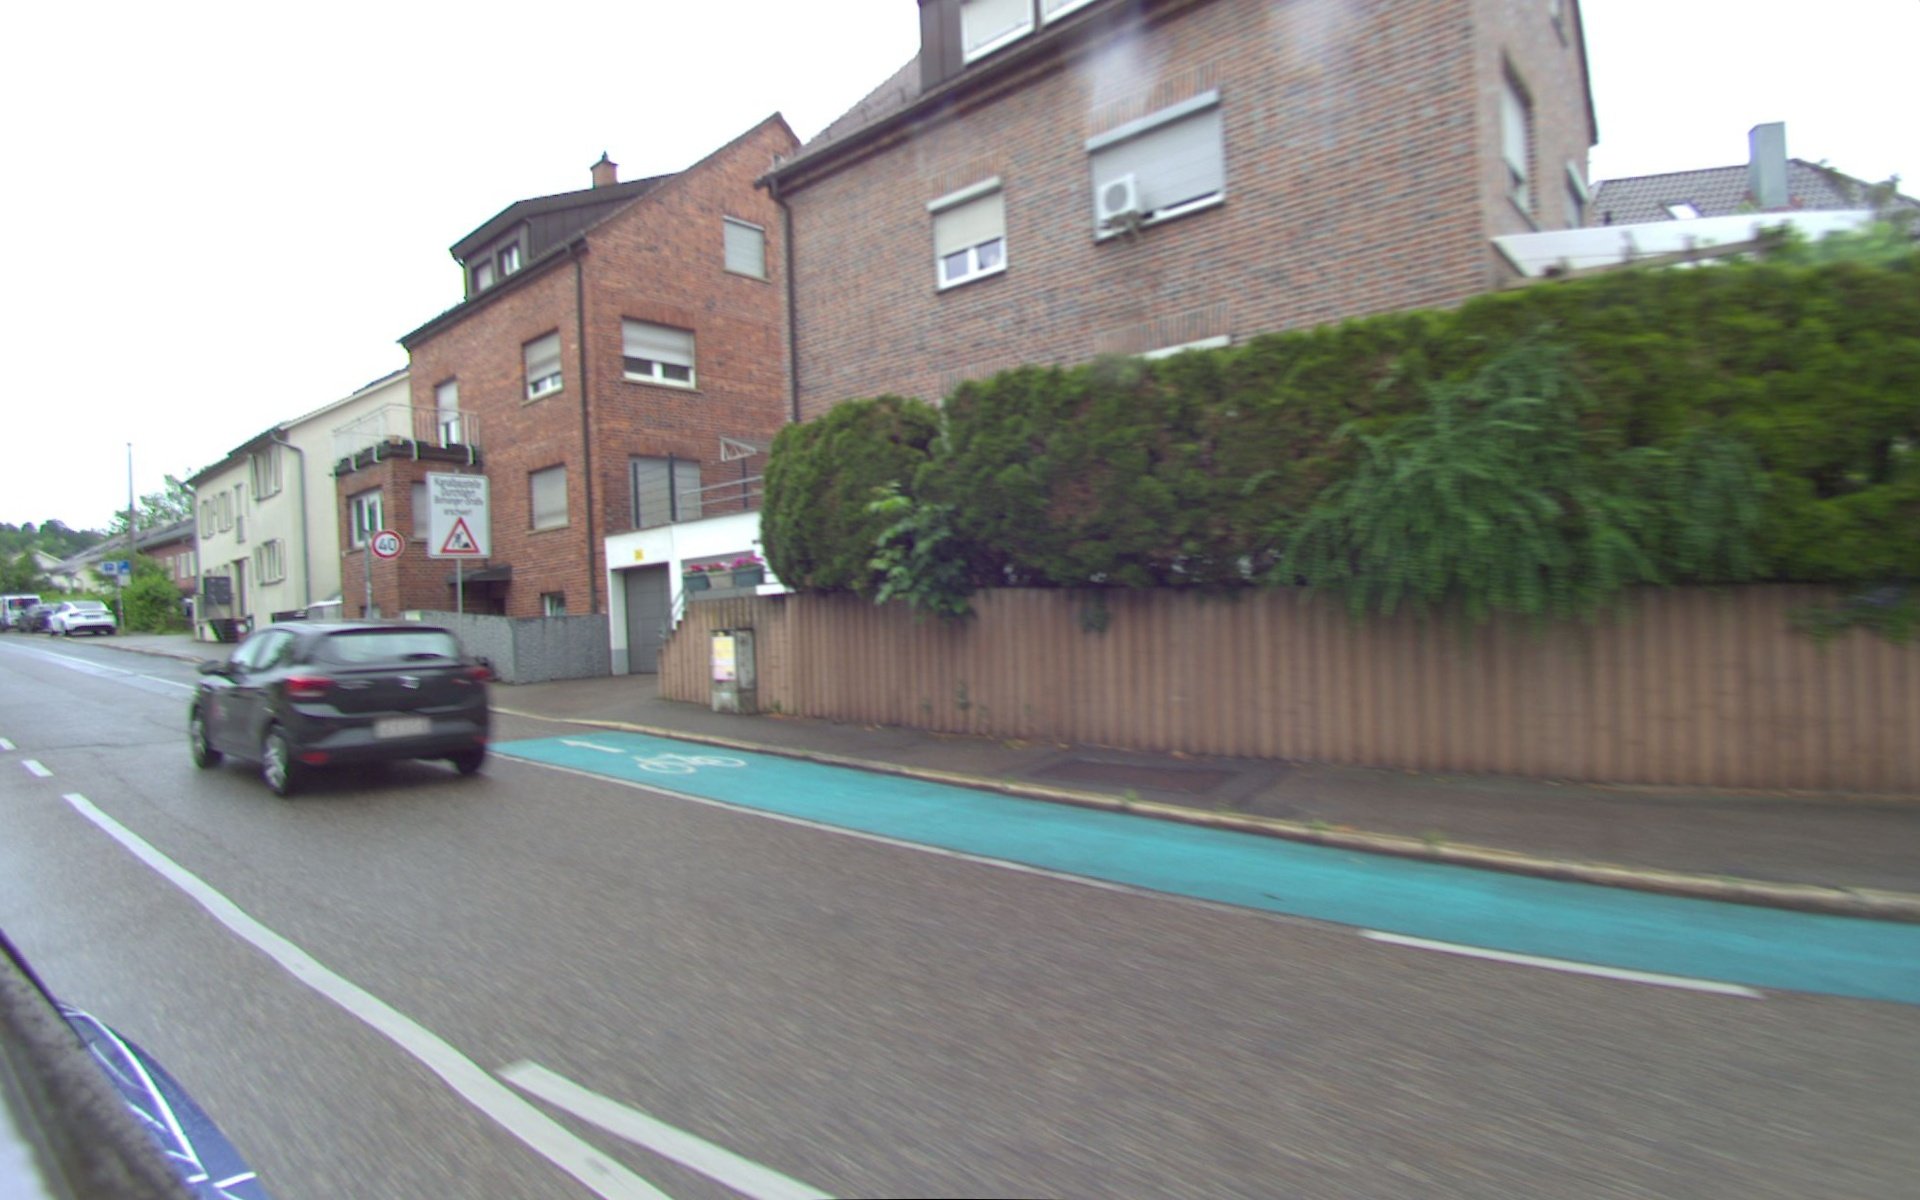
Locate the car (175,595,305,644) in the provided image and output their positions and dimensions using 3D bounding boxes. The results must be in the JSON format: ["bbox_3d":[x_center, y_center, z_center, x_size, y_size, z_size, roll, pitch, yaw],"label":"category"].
[{"bbox_3d":[-32.647,0.848,45.993,1.886,2.029,4.444,-2,-1,39],"label":"car"}]

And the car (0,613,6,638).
[{"bbox_3d":[-57.718,1.534,58.914,4.501,1.487,1.797,-1,1,28],"label":"car"}]

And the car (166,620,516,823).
[{"bbox_3d":[-6.092,0.982,9.786,3.997,1.562,1.723,-1,-2,40],"label":"car"}]

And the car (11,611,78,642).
[{"bbox_3d":[-47.965,1.374,52.979,4.515,1.487,1.791,-1,1,38],"label":"car"}]

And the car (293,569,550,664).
[{"bbox_3d":[-16.295,0.368,31.024,2.168,2.572,6.583,1,2,42],"label":"car"}]

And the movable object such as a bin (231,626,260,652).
[{"bbox_3d":[-24.791,1.349,35.126,0.708,0.866,0.666,-1,1,42],"label":"movable object such as a bin"}]

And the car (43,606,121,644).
[{"bbox_3d":[-41.490,1.136,47.800,4.672,1.643,1.911,0,2,39],"label":"car"}]

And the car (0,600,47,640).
[{"bbox_3d":[-53.077,1.084,56.433,5.004,2.094,1.834,-1,1,32],"label":"car"}]

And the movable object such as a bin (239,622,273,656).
[{"bbox_3d":[-23.560,1.293,33.882,0.738,1.054,0.773,-1,1,42],"label":"movable object such as a bin"}]
